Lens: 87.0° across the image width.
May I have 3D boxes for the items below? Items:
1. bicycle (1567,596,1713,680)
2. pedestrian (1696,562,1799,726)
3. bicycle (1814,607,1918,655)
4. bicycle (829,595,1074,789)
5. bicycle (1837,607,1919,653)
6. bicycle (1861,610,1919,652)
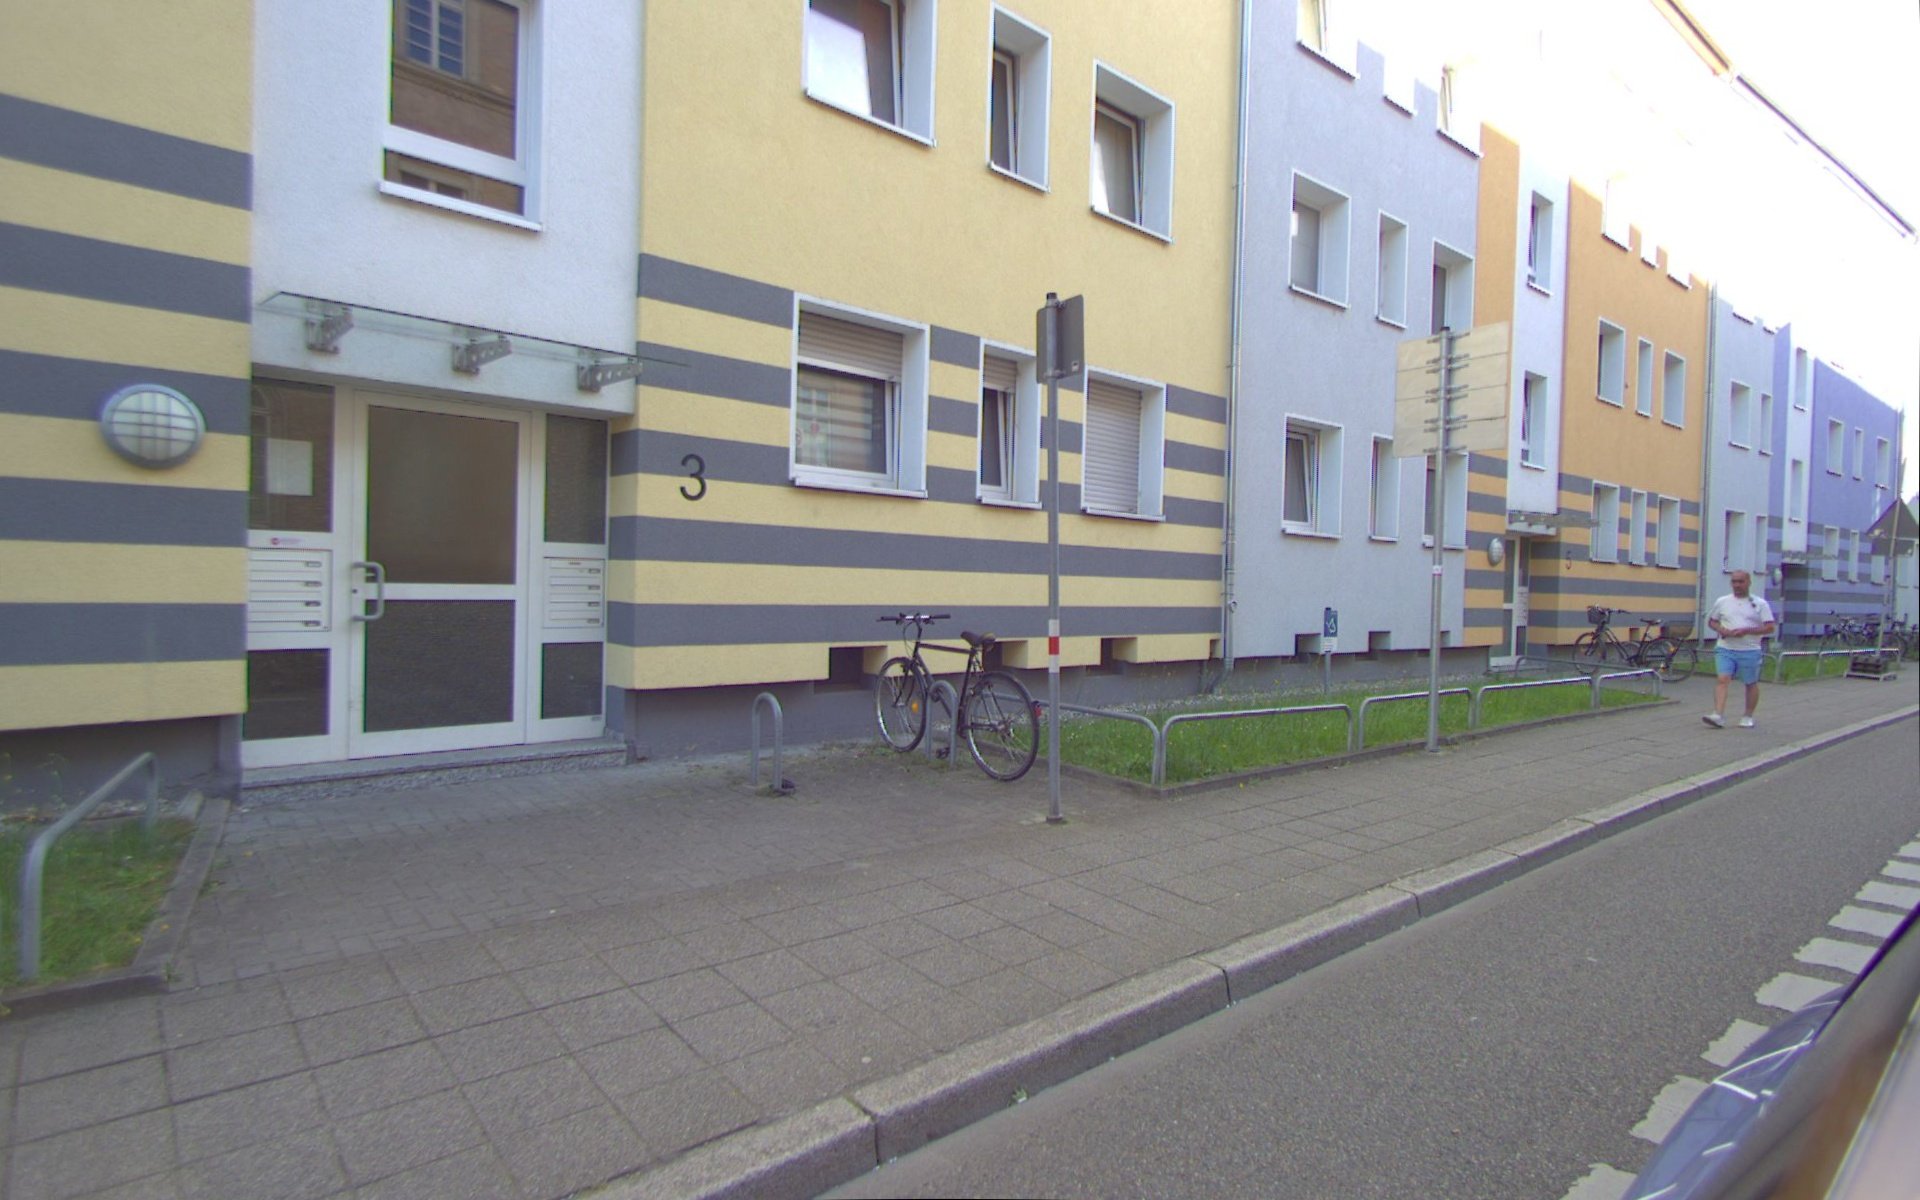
[{"bbox_3d":[10.699,0.568,15.966,0.574,1.138,1.775,0,4,-42],"label":"bicycle"},{"bbox_3d":[8.542,0.448,10.981,0.819,1.692,0.644,1,2,-39],"label":"pedestrian"},{"bbox_3d":[22.197,0.734,24.824,0.572,1.007,1.779,1,3,-33],"label":"bicycle"},{"bbox_3d":[-0.114,0.555,6.944,1.773,1.061,0.574,5,4,45],"label":"bicycle"},{"bbox_3d":[23.361,0.738,25.493,0.572,1.007,1.779,1,3,-33],"label":"bicycle"},{"bbox_3d":[24.063,0.794,25.601,0.572,0.950,1.779,1,3,-33],"label":"bicycle"}]
